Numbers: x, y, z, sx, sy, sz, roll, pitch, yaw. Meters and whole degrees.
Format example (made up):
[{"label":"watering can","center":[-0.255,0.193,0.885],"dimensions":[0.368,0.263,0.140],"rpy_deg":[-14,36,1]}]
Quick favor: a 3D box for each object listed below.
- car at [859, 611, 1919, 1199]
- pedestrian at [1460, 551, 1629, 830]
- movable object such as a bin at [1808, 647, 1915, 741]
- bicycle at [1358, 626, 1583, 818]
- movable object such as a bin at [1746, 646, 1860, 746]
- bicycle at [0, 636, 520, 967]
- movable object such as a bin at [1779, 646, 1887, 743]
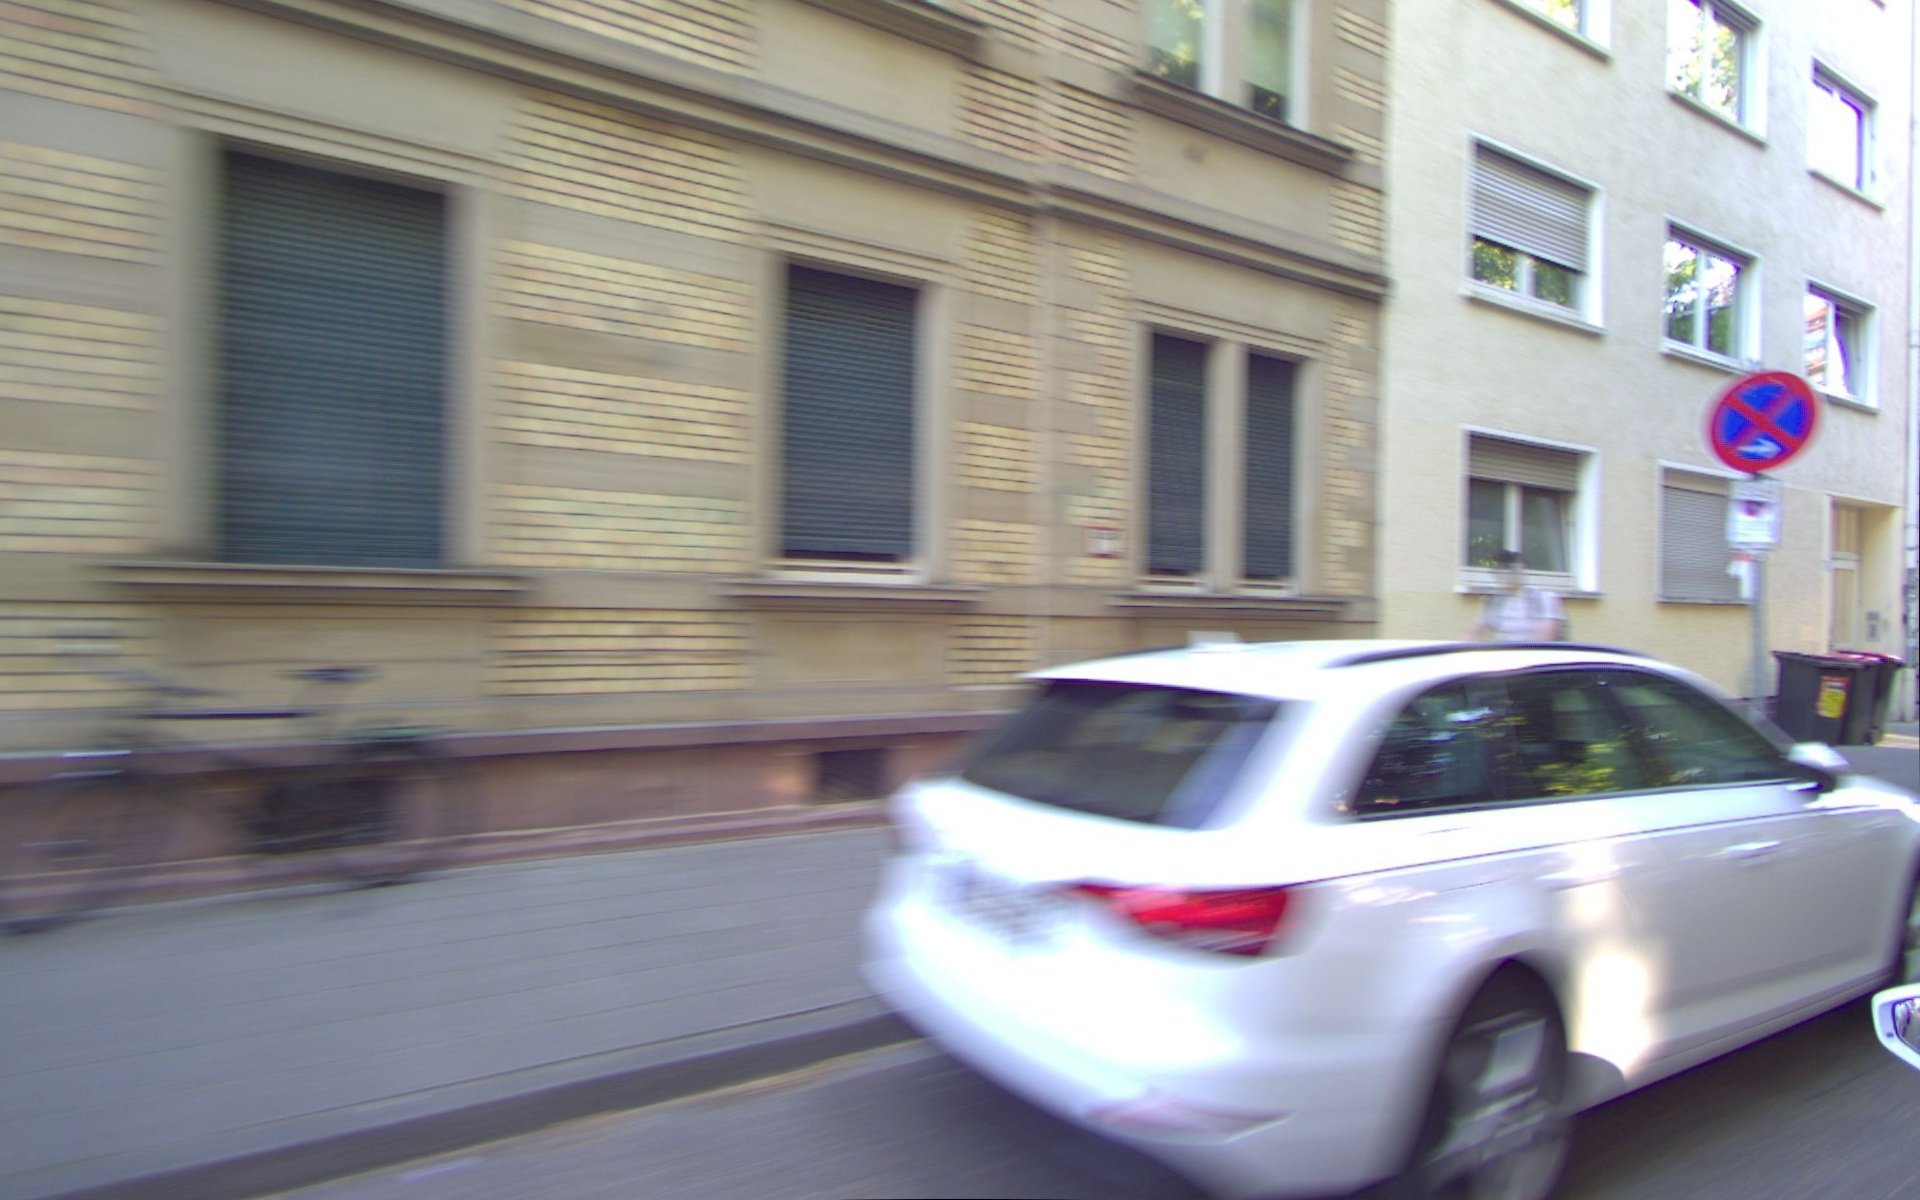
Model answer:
[{"label":"car","center":[2.010,0.833,3.751],"dimensions":[4.468,1.475,1.723],"rpy_deg":[1,-3,-31]},{"label":"pedestrian","center":[4.111,0.594,7.054],"dimensions":[1.102,1.827,0.485],"rpy_deg":[1,2,-32]},{"label":"movable object such as a bin","center":[11.301,1.166,12.604],"dimensions":[0.657,1.102,0.798],"rpy_deg":[2,-1,-26]},{"label":"bicycle","center":[3.828,0.849,7.486],"dimensions":[1.823,1.260,0.567],"rpy_deg":[1,2,-31]},{"label":"movable object such as a bin","center":[10.002,1.117,11.928],"dimensions":[0.666,1.102,0.833],"rpy_deg":[2,-1,-27]},{"label":"bicycle","center":[-2.928,0.761,4.319],"dimensions":[1.823,1.163,0.567],"rpy_deg":[1,2,-31]},{"label":"movable object such as a bin","center":[10.674,1.137,12.295],"dimensions":[0.657,1.102,0.798],"rpy_deg":[2,-1,-26]}]
